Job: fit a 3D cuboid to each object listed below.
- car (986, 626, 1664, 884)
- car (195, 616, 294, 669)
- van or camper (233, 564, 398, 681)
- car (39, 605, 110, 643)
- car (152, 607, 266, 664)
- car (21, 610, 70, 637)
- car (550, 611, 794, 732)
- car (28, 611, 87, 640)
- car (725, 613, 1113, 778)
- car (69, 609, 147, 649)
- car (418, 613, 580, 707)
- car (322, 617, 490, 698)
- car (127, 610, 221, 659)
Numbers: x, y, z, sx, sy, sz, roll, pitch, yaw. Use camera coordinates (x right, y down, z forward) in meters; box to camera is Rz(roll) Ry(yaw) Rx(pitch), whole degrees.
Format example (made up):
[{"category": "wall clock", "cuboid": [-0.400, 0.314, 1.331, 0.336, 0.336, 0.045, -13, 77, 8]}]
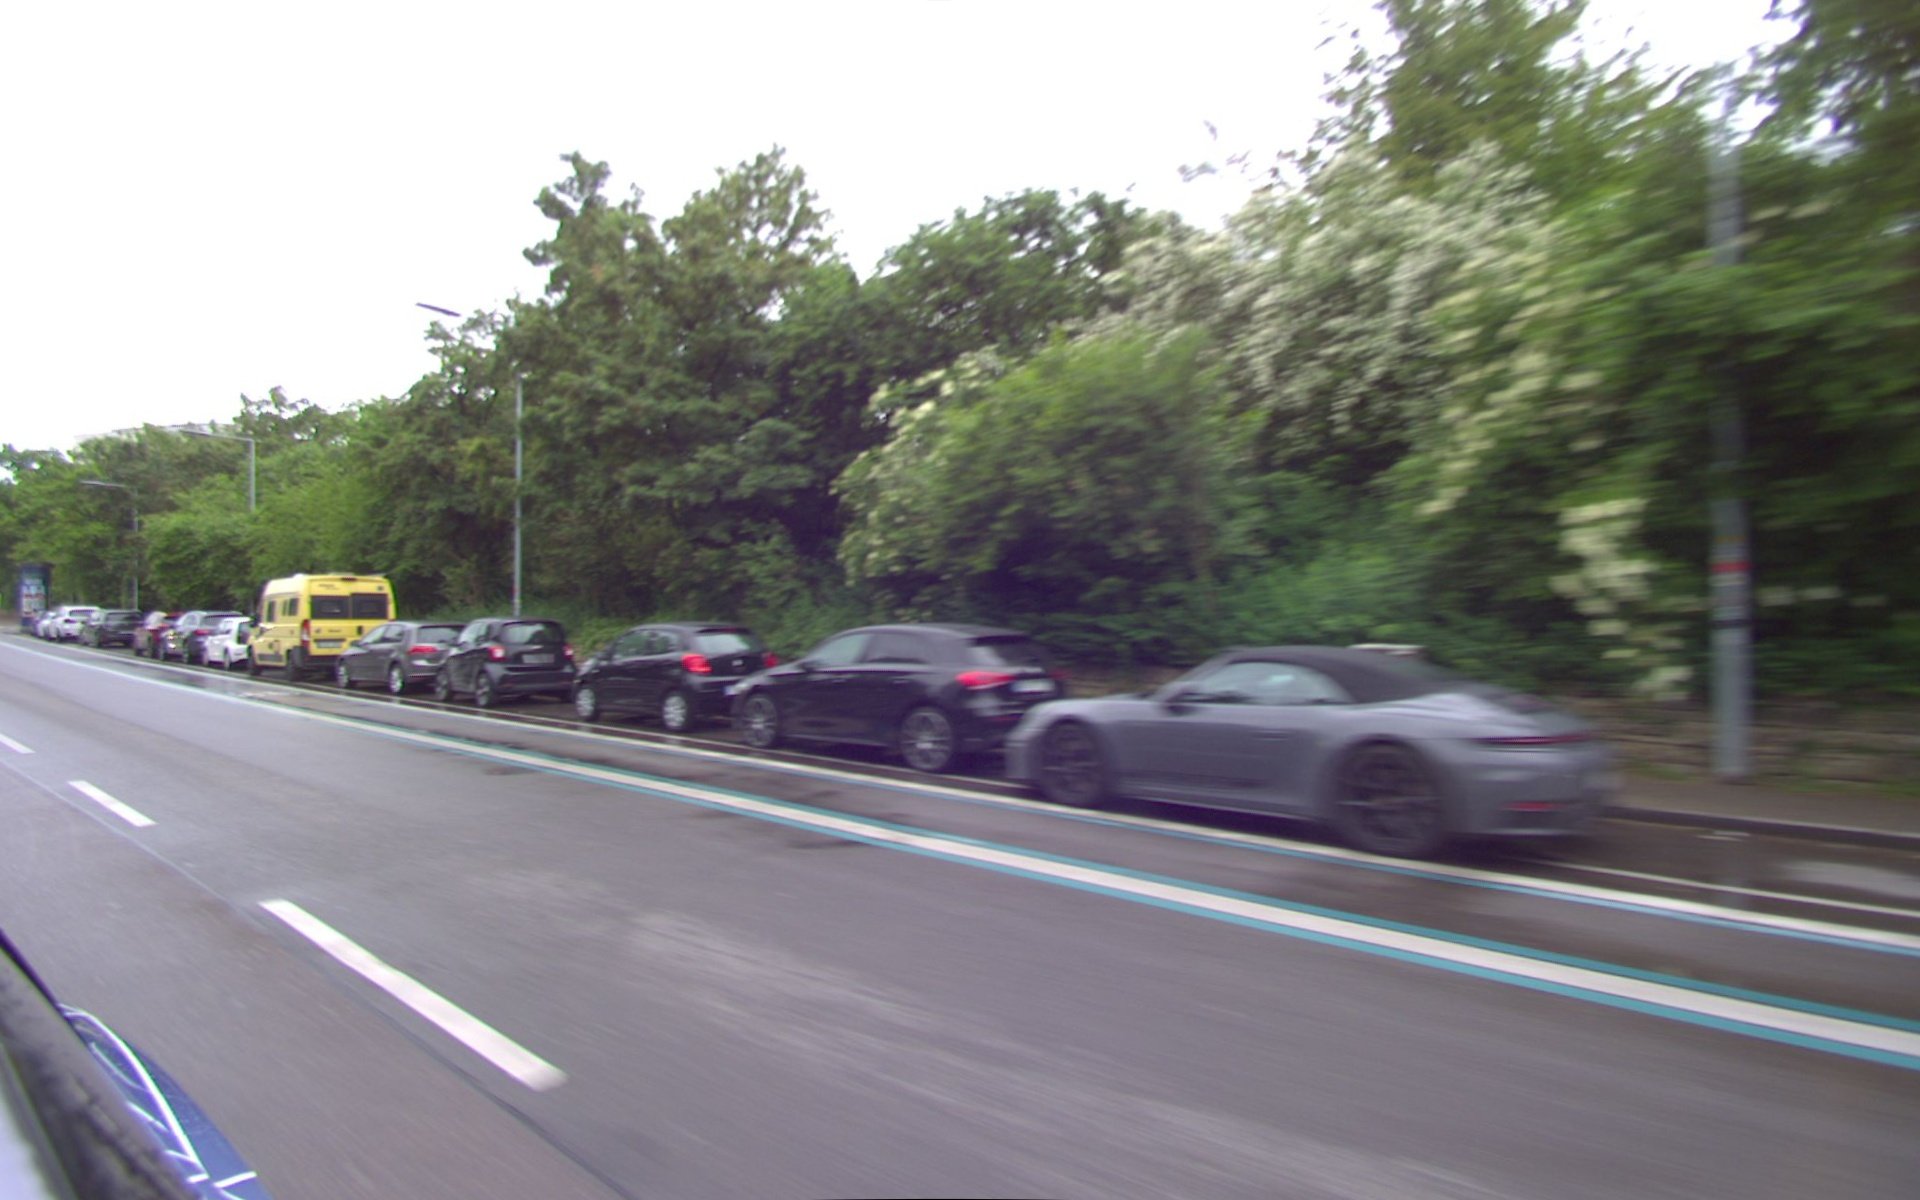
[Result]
[{"category": "car", "cuboid": [2.500, 0.893, 7.645, 4.468, 1.314, 1.850, -1, 0, 41]}, {"category": "car", "cuboid": [-21.108, 1.217, 29.810, 3.656, 1.460, 1.600, -1, -2, 42]}, {"category": "van or camper", "cuboid": [-16.408, 0.535, 25.621, 5.681, 2.647, 2.120, -1, -1, 42]}, {"category": "car", "cuboid": [-43.424, 1.136, 49.597, 4.957, 1.778, 1.973, 0, 0, 41]}, {"category": "car", "cuboid": [-24.557, 1.106, 33.052, 4.611, 1.713, 1.974, -1, -1, 40]}, {"category": "car", "cuboid": [-51.930, 1.284, 57.410, 4.587, 1.456, 1.730, 0, 0, 44]}, {"category": "car", "cuboid": [-4.290, 0.934, 14.753, 3.976, 1.521, 1.585, -1, -1, 43]}, {"category": "car", "cuboid": [-47.700, 1.300, 53.441, 4.705, 1.471, 1.701, 0, 0, 40]}, {"category": "car", "cuboid": [-0.588, 0.888, 11.225, 4.138, 1.463, 1.972, -1, -1, 43]}, {"category": "car", "cuboid": [-37.345, 1.219, 44.333, 4.565, 1.661, 1.715, 0, 0, 38]}, {"category": "car", "cuboid": [-8.363, 1.008, 18.283, 3.138, 1.521, 1.585, -1, -1, 43]}, {"category": "car", "cuboid": [-11.680, 1.131, 21.234, 4.144, 1.510, 1.663, -1, -1, 39]}, {"category": "car", "cuboid": [-28.506, 1.206, 36.662, 4.488, 1.629, 1.898, 0, -1, 42]}]
